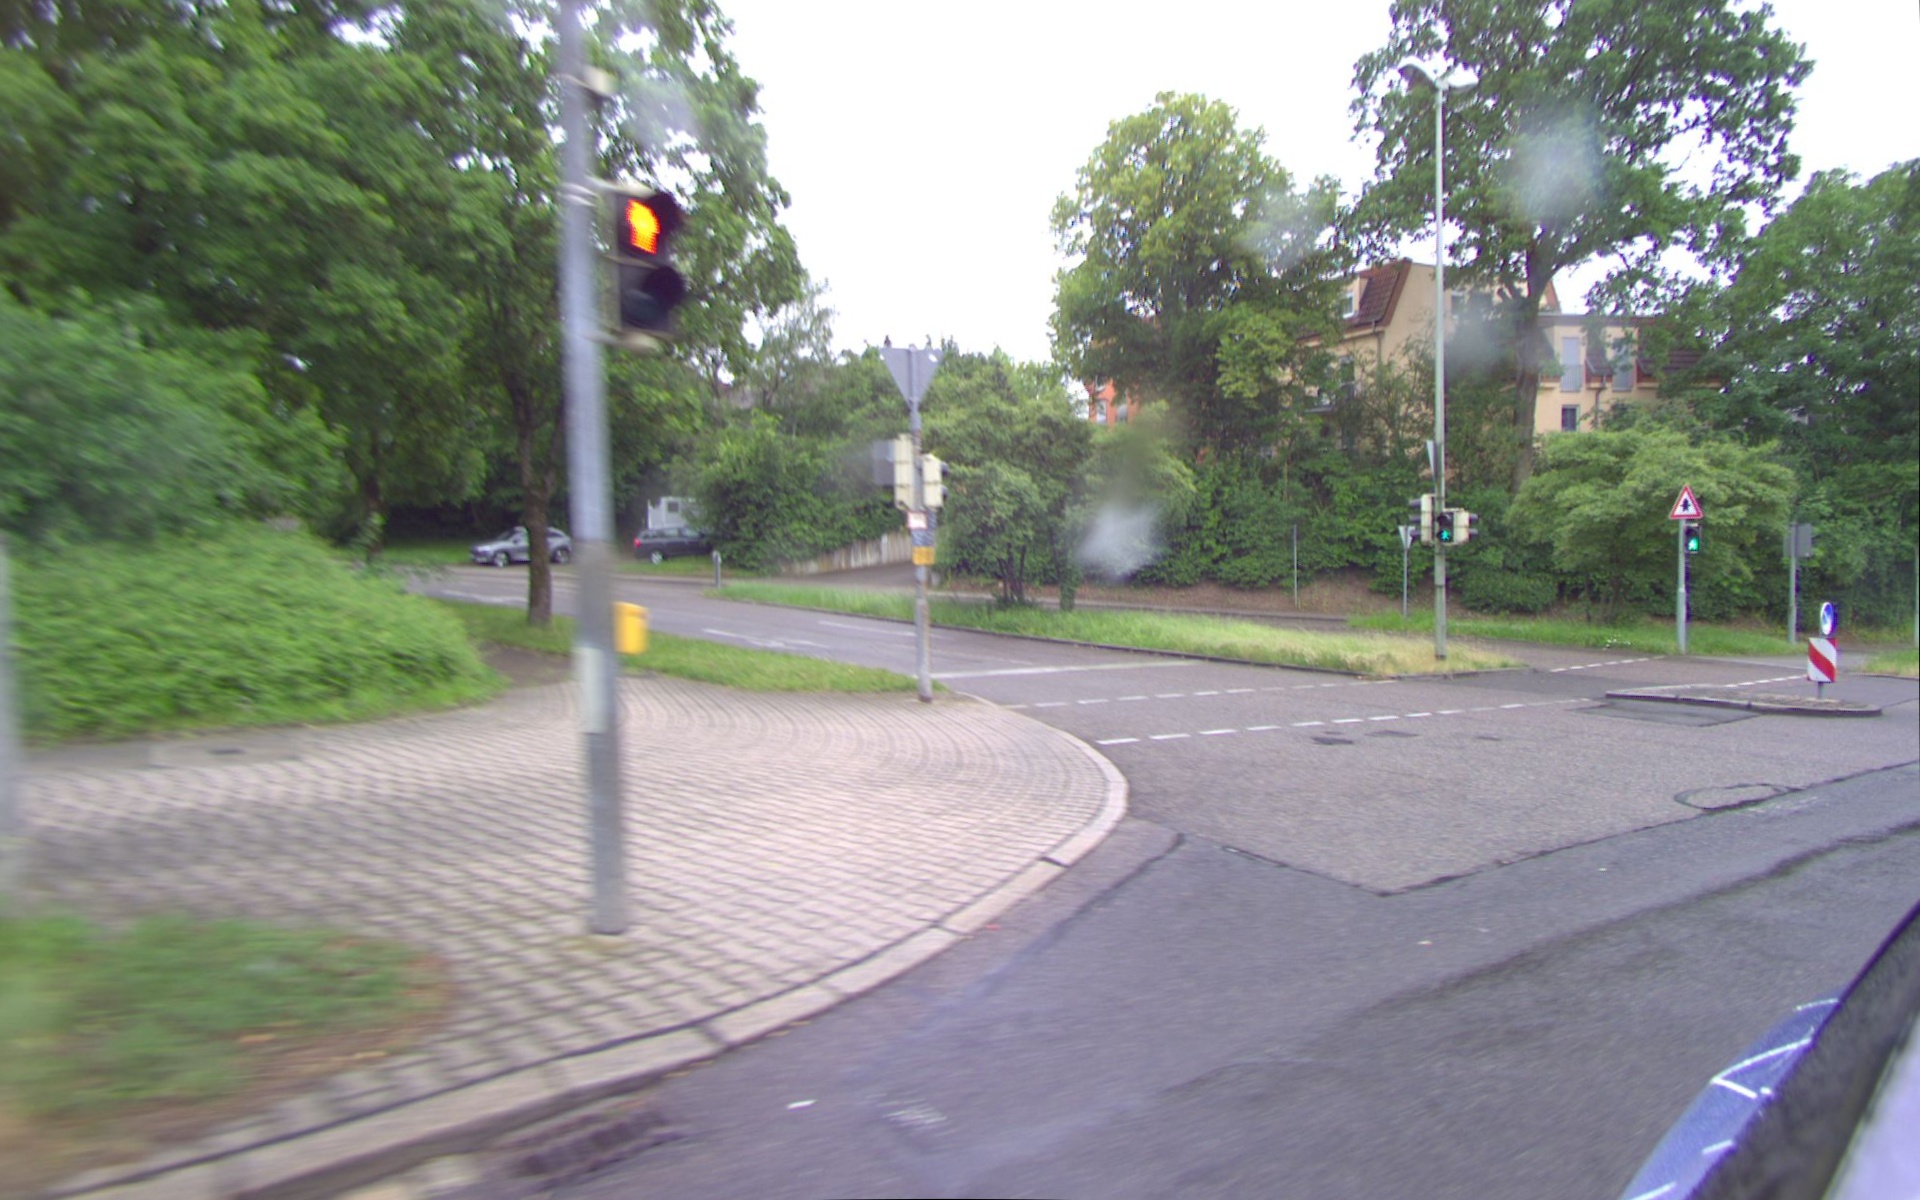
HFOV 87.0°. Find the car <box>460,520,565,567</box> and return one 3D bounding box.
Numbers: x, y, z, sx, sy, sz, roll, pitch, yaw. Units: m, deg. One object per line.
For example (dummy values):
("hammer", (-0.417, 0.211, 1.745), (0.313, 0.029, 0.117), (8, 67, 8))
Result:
("car", (-20.416, -2.563, 46.277), (1.952, 1.922, 3.936), (4, 3, 44))
